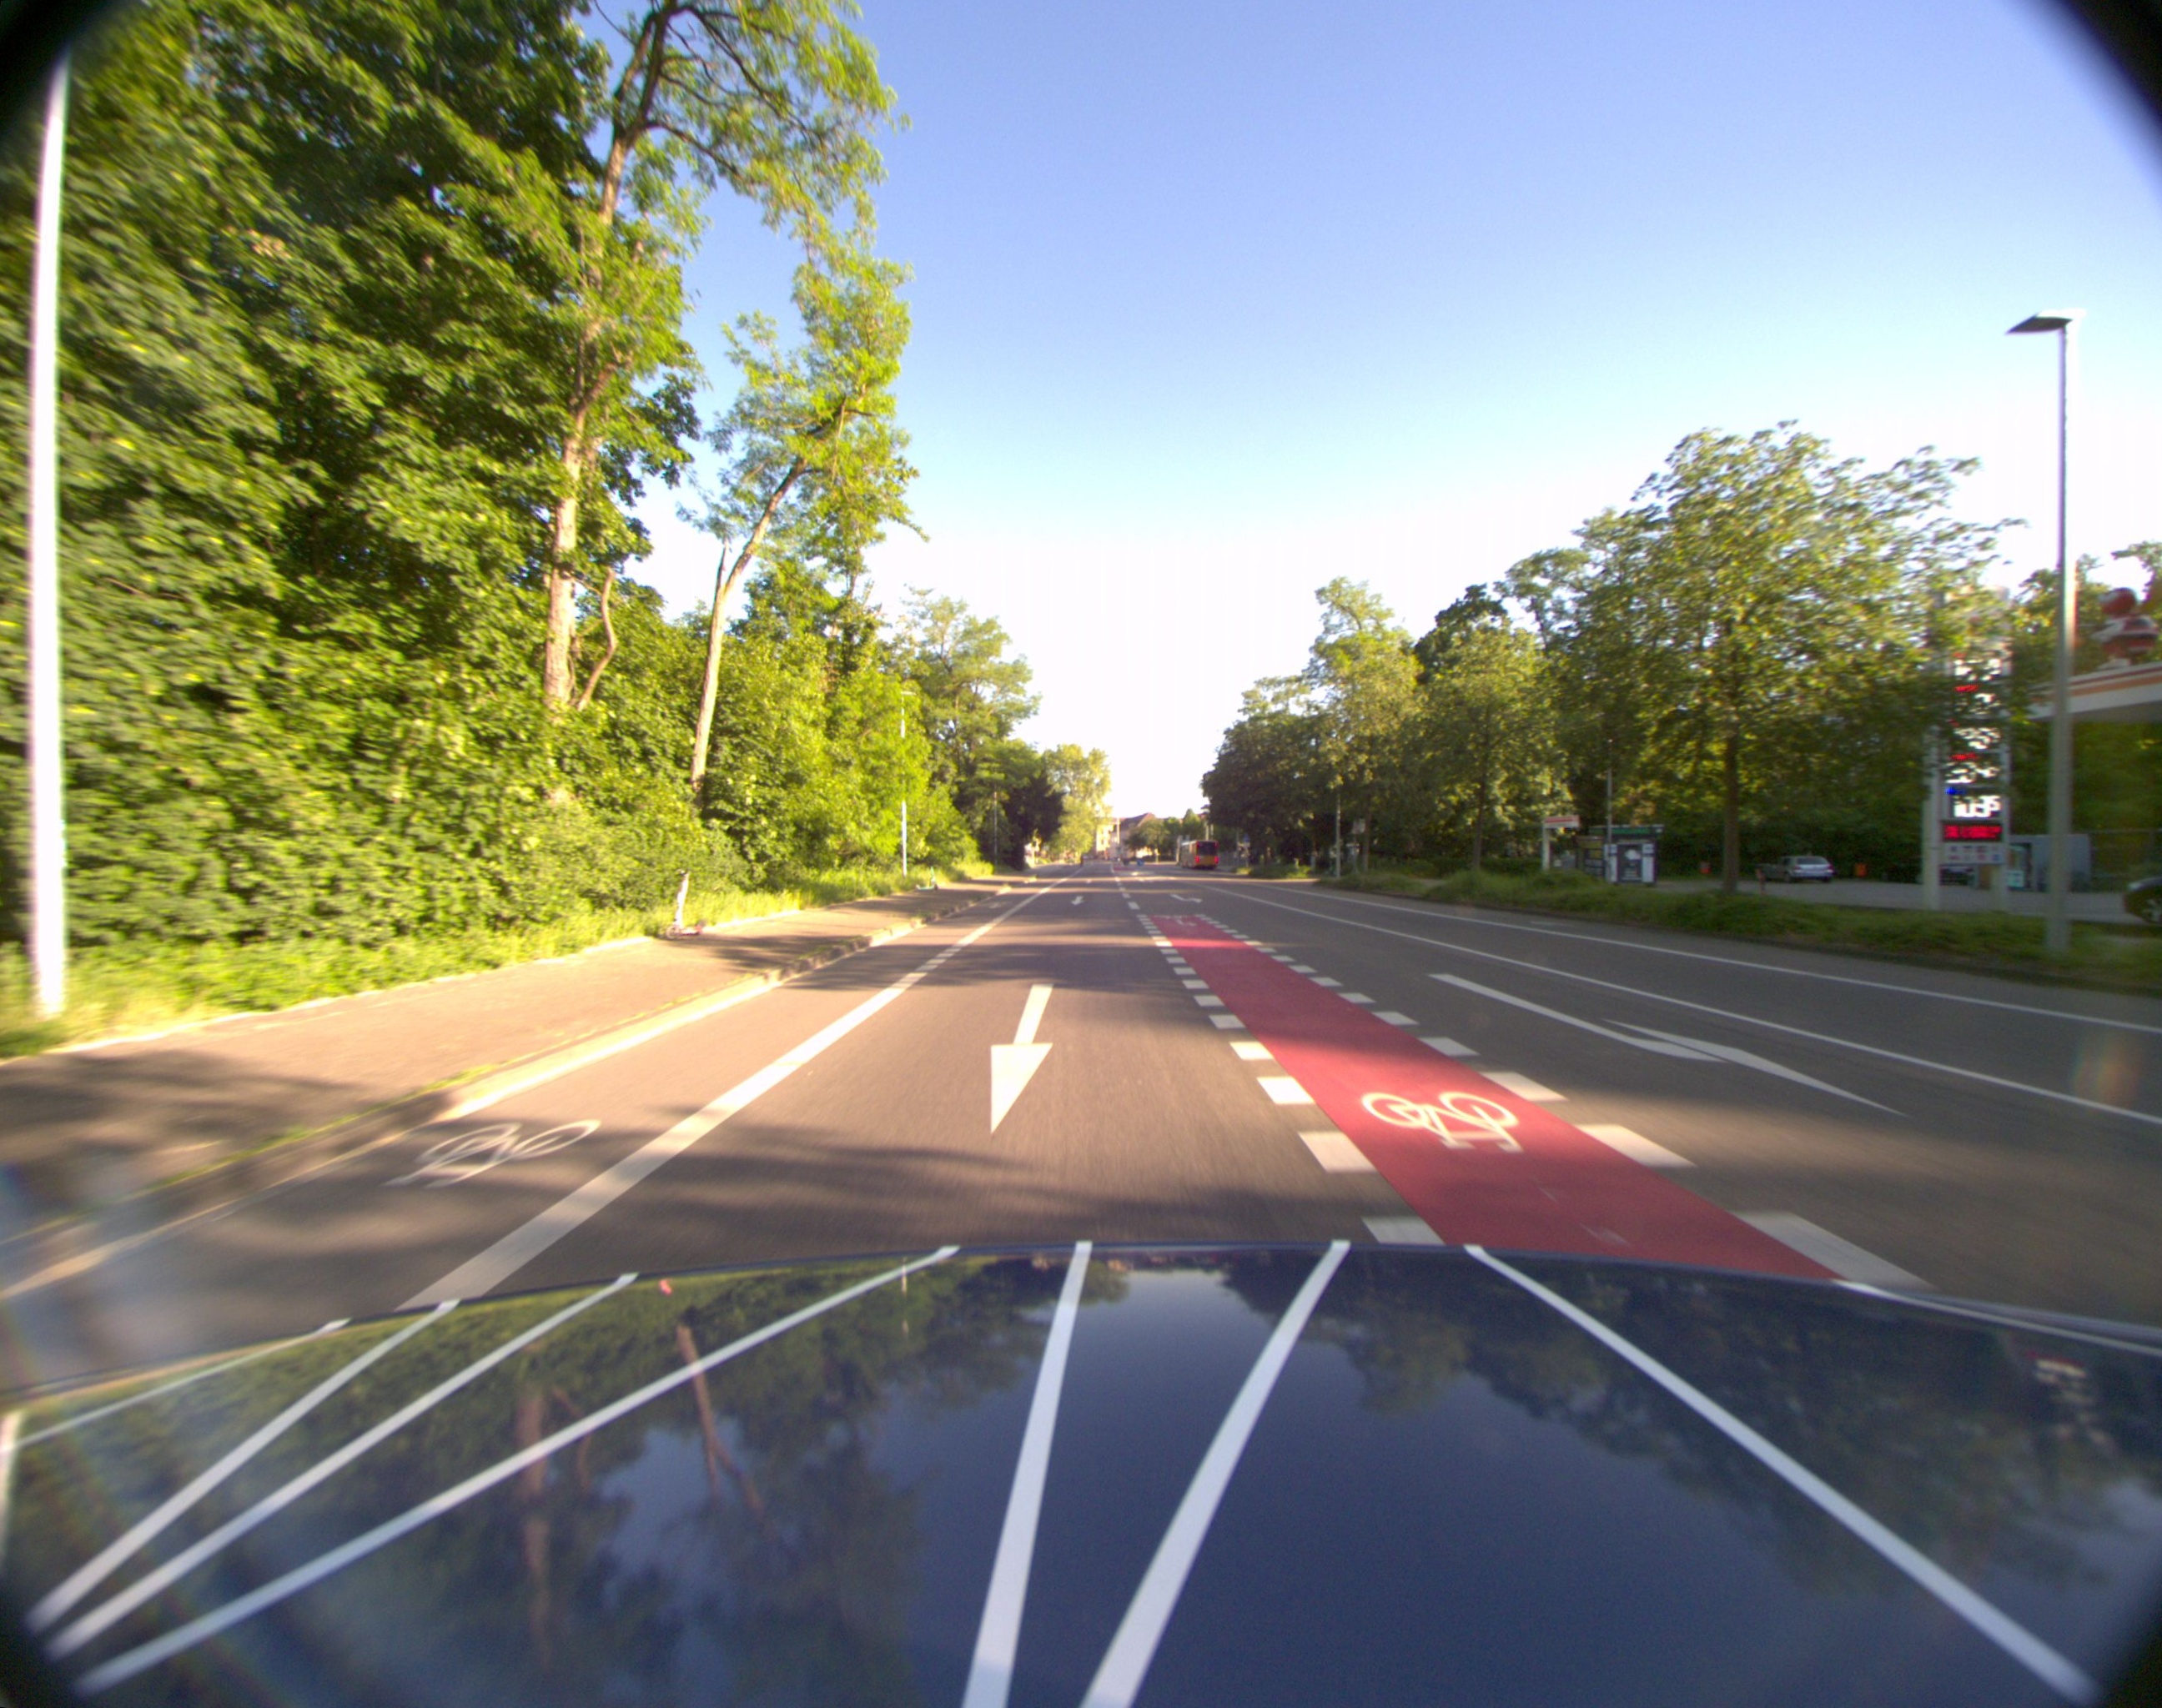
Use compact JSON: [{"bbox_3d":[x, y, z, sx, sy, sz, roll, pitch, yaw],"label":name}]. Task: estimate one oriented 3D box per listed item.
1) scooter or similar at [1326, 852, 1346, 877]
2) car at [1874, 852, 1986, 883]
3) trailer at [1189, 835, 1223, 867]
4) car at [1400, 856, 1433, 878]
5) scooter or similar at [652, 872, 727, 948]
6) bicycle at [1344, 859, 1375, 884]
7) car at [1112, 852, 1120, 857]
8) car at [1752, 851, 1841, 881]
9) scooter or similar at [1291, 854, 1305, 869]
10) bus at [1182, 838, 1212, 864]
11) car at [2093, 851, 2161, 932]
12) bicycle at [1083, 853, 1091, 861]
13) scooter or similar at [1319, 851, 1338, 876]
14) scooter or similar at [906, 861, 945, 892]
[{"bbox_3d":[17.733,0.691,52.832,0.829,1.707,1.741,0,0,1],"label":"scooter or similar"},{"bbox_3d":[43.519,0.639,39.080,1.996,1.527,3.917,0,0,14],"label":"car"},{"bbox_3d":[14.426,-0.378,88.484,2.861,3.336,9.363,-2,1,3],"label":"trailer"},{"bbox_3d":[23.474,0.884,53.043,1.558,1.392,3.498,3,2,32],"label":"car"},{"bbox_3d":[-6.985,0.961,13.639,0.534,1.243,1.541,0,0,1],"label":"scooter or similar"},{"bbox_3d":[14.323,0.870,39.072,0.656,1.243,2.158,0,0,-4],"label":"bicycle"},{"bbox_3d":[8.773,0.122,188.483,1.722,1.409,4.526,0,0,-1],"label":"car"},{"bbox_3d":[38.446,0.619,40.967,1.995,1.527,4.027,0,0,19],"label":"car"},{"bbox_3d":[19.669,0.661,68.974,0.829,1.303,1.571,0,0,1],"label":"scooter or similar"},{"bbox_3d":[14.811,-0.388,97.476,2.847,3.178,8.600,0,0,3],"label":"bus"},{"bbox_3d":[23.327,0.785,14.591,1.715,1.681,4.452,0,0,-3],"label":"car"},{"bbox_3d":[0.842,0.406,109.294,0.694,1.089,2.138,0,0,12],"label":"bicycle"},{"bbox_3d":[17.822,0.671,54.774,0.829,1.707,1.741,0,0,1],"label":"scooter or similar"},{"bbox_3d":[-6.442,0.927,31.487,1.544,1.243,0.533,0,1,-42],"label":"scooter or similar"}]
